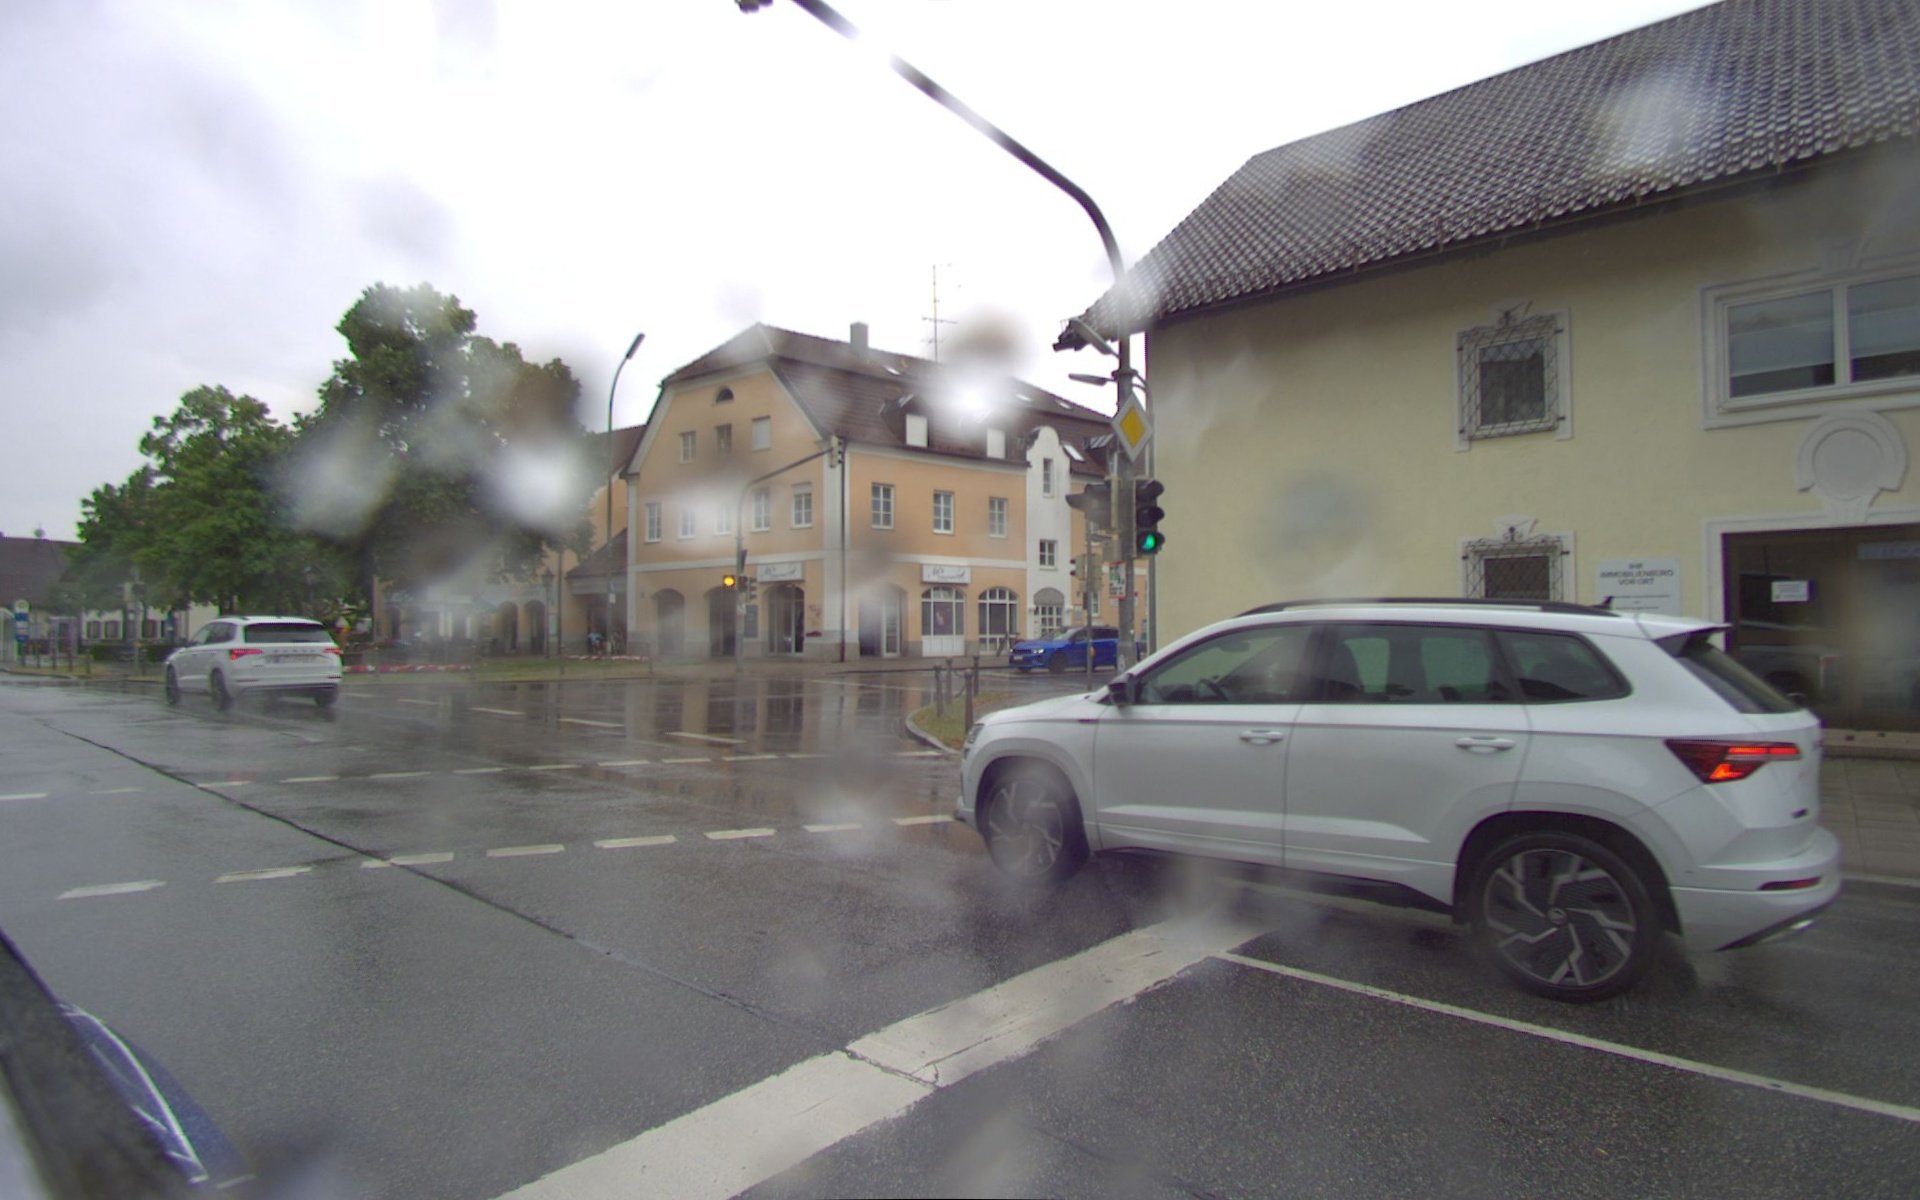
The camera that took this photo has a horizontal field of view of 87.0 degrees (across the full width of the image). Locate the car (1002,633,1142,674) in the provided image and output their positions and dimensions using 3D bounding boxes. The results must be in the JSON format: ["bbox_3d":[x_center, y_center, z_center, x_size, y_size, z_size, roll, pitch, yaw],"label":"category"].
[{"bbox_3d":[3.538,1.629,31.581,4.288,1.194,1.693,1,-2,-35],"label":"car"}]

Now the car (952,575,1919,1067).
[{"bbox_3d":[2.123,0.771,5.347,4.123,1.578,1.907,-1,-2,41],"label":"car"}]

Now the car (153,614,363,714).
[{"bbox_3d":[-12.639,1.081,18.142,4.146,1.575,1.948,-1,-3,38],"label":"car"}]
